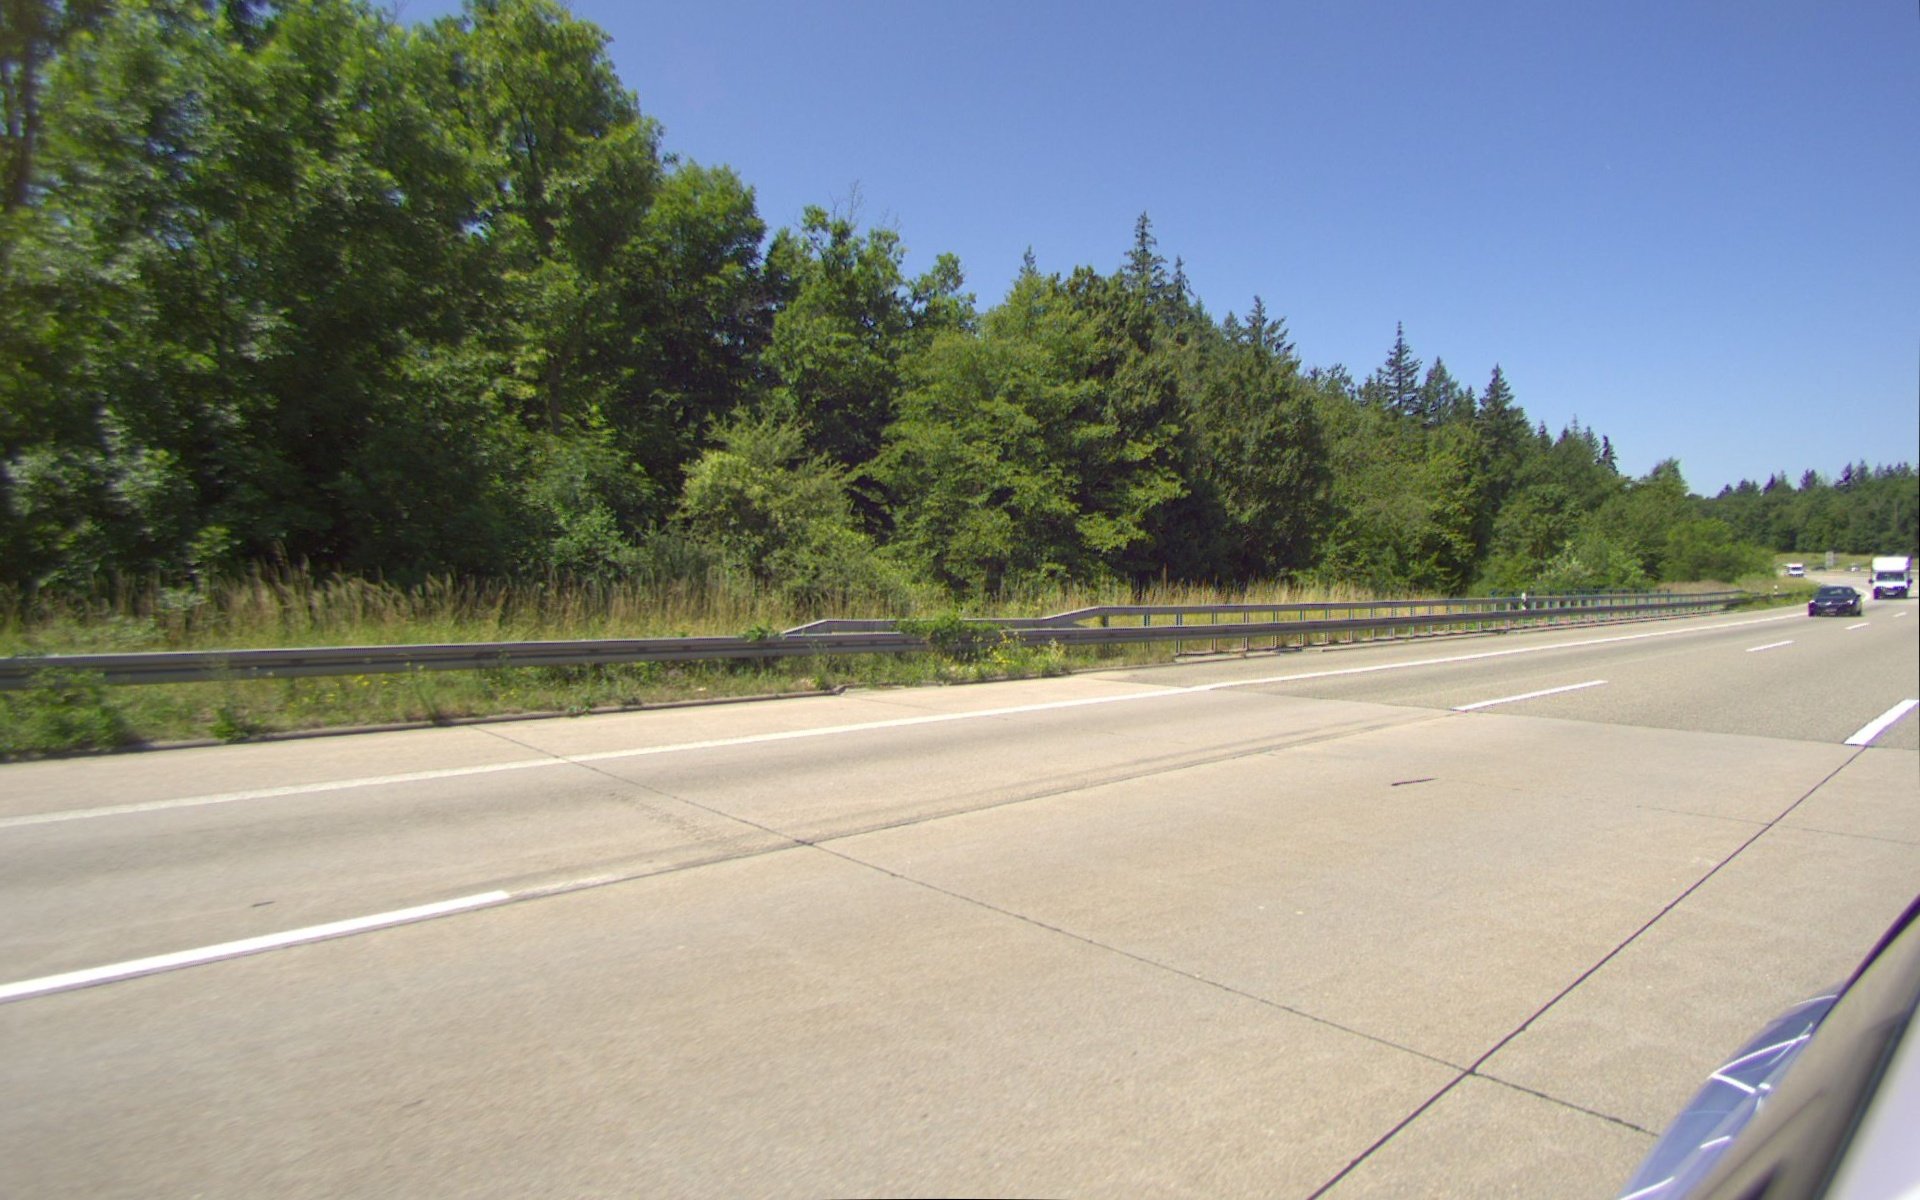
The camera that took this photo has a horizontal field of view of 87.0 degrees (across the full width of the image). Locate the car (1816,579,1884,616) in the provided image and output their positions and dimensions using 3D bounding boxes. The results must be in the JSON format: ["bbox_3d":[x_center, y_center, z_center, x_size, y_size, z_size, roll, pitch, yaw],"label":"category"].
[{"bbox_3d":[43.483,-0.127,49.404,4.323,1.725,1.929,-1,0,-41],"label":"car"}]

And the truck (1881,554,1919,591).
[{"bbox_3d":[75.094,-2.140,80.167,5.812,2.831,2.481,-1,0,-41],"label":"truck"}]
